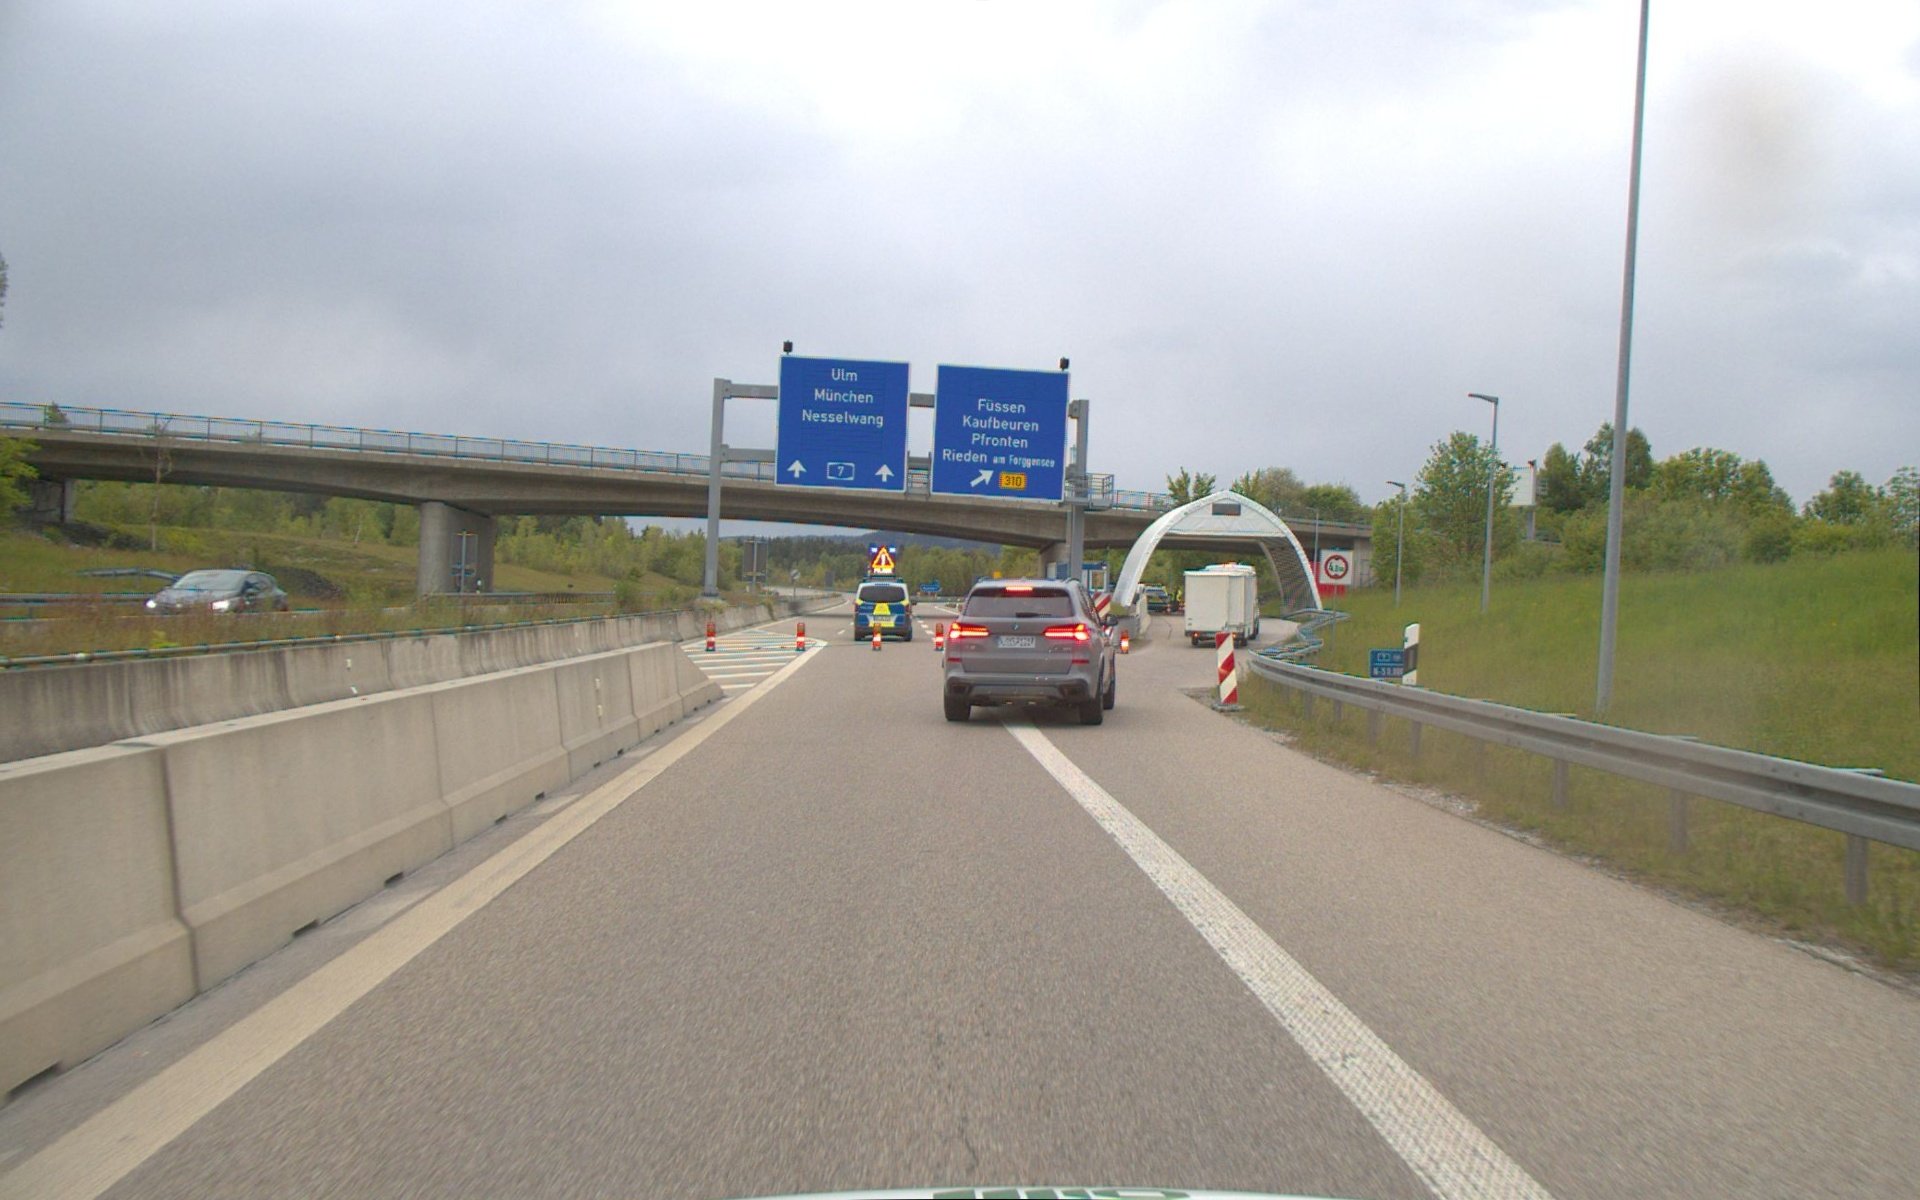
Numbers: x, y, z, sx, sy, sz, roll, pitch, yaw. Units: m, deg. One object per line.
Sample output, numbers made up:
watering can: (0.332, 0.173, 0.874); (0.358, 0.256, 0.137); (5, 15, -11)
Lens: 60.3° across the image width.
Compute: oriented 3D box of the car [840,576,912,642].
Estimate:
car: (-2.804, 0.246, 54.977); (2.241, 2.049, 5.046); (1, 1, -4)

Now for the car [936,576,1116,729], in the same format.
car: (0.950, 0.602, 21.304); (1.951, 1.749, 4.003); (1, 0, 7)

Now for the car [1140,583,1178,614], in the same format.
car: (12.096, -0.098, 100.833); (1.952, 1.803, 3.766); (0, 0, 2)

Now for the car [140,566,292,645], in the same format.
car: (-15.542, 0.098, 34.757); (1.575, 1.527, 3.836); (2, 0, -3)

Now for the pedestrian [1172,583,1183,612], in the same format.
pedestrian: (13.749, -0.157, 104.628); (0.634, 1.806, 0.606); (0, 0, 0)

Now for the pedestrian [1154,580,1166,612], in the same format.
pedestrian: (12.651, -0.266, 104.651); (0.705, 1.979, 0.690); (0, 0, 2)

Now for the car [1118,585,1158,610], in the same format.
car: (15.376, -0.222, 143.083); (1.962, 2.049, 3.981); (0, 0, -17)

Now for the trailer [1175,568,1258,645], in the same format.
trailer: (8.922, 0.244, 57.001); (2.230, 2.473, 6.822); (1, 0, 14)

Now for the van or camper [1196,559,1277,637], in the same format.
van or camper: (10.621, -0.053, 63.149); (2.112, 2.812, 5.873); (1, 0, 19)
